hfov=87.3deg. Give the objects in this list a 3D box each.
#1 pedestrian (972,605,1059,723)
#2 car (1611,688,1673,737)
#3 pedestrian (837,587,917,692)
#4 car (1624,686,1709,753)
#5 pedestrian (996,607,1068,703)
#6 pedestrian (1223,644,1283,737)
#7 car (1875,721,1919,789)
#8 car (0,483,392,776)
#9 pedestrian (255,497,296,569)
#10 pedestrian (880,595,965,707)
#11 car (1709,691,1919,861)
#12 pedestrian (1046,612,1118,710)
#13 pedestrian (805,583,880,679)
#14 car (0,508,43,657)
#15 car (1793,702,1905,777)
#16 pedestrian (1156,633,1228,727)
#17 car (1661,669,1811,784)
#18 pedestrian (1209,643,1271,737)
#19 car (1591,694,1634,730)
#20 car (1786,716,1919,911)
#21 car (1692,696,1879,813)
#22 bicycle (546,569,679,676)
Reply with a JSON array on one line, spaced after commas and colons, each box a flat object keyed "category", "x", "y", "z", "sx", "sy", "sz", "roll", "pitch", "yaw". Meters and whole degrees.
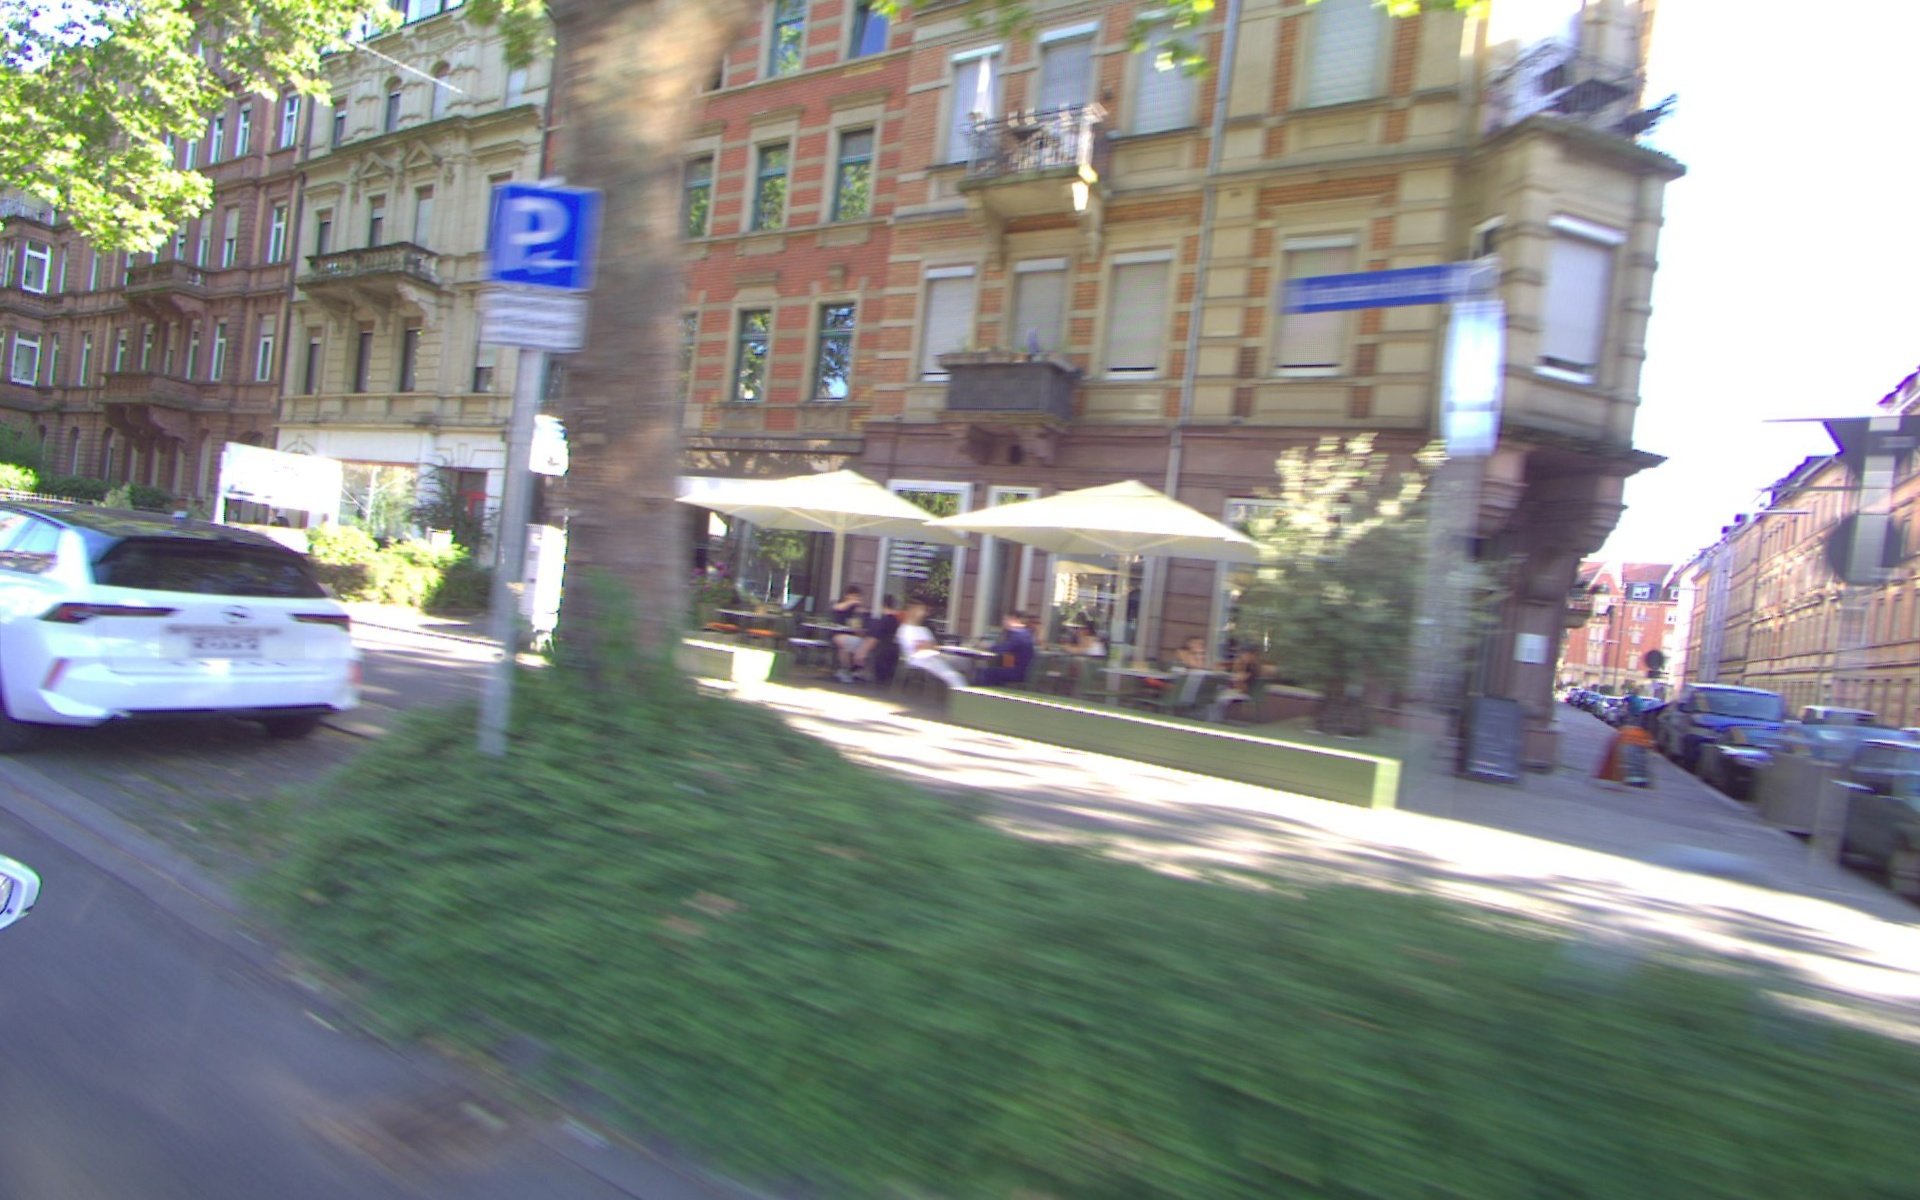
[{"category": "pedestrian", "x": 0.673, "y": 0.771, "z": 12.155, "sx": 0.651, "sy": 1.316, "sz": 0.713, "roll": 7, "pitch": 0, "yaw": 31}, {"category": "car", "x": 29.661, "y": 4.864, "z": 43.841, "sx": 1.833, "sy": 1.778, "sz": 3.992, "roll": 7, "pitch": 0, "yaw": 32}, {"category": "pedestrian", "x": -1.123, "y": 0.540, "z": 13.629, "sx": 0.651, "sy": 1.316, "sz": 0.713, "roll": 7, "pitch": 0, "yaw": 31}, {"category": "car", "x": 23.104, "y": 3.852, "z": 33.036, "sx": 1.833, "sy": 1.778, "sz": 3.992, "roll": 7, "pitch": 0, "yaw": 32}, {"category": "pedestrian", "x": 1.079, "y": 0.820, "z": 15.014, "sx": 0.703, "sy": 1.316, "sz": 0.661, "roll": 7, "pitch": 0, "yaw": 31}, {"category": "pedestrian", "x": 3.930, "y": 1.206, "z": 13.482, "sx": 0.517, "sy": 1.152, "sz": 0.557, "roll": 7, "pitch": 0, "yaw": 31}, {"category": "car", "x": 24.468, "y": 3.948, "z": 24.945, "sx": 1.713, "sy": 1.512, "sz": 3.993, "roll": 7, "pitch": -1, "yaw": 31}, {"category": "car", "x": -6.283, "y": 0.011, "z": 7.142, "sx": 4.569, "sy": 1.495, "sz": 1.805, "roll": 7, "pitch": 0, "yaw": 31}, {"category": "pedestrian", "x": -20.739, "y": -2.023, "z": 30.467, "sx": 0.623, "sy": 2.039, "sz": 0.673, "roll": 7, "pitch": 1, "yaw": 31}, {"category": "pedestrian", "x": -0.471, "y": 0.646, "z": 12.699, "sx": 0.651, "sy": 1.316, "sz": 0.713, "roll": 7, "pitch": 0, "yaw": 30}, {"category": "car", "x": 11.356, "y": 2.185, "z": 13.345, "sx": 1.862, "sy": 1.667, "sz": 3.899, "roll": 7, "pitch": 0, "yaw": 33}, {"category": "pedestrian", "x": 1.768, "y": 0.878, "z": 14.536, "sx": 0.651, "sy": 1.316, "sz": 0.713, "roll": 7, "pitch": 0, "yaw": 31}, {"category": "pedestrian", "x": -1.732, "y": 0.466, "z": 14.858, "sx": 0.652, "sy": 1.316, "sz": 0.713, "roll": 7, "pitch": 0, "yaw": 32}, {"category": "car", "x": -10.757, "y": -0.396, "z": 9.638, "sx": 3.934, "sy": 1.343, "sz": 1.832, "roll": 7, "pitch": 0, "yaw": 32}, {"category": "car", "x": 29.997, "y": 4.657, "z": 34.079, "sx": 1.967, "sy": 2.038, "sz": 3.992, "roll": 7, "pitch": 0, "yaw": 32}, {"category": "pedestrian", "x": 3.222, "y": 1.103, "z": 13.945, "sx": 0.651, "sy": 1.186, "sz": 0.713, "roll": 7, "pitch": 0, "yaw": 31}, {"category": "car", "x": 17.182, "y": 2.712, "z": 22.506, "sx": 1.967, "sy": 2.038, "sz": 4.611, "roll": 7, "pitch": 0, "yaw": 32}, {"category": "pedestrian", "x": 3.593, "y": 1.145, "z": 12.899, "sx": 0.517, "sy": 1.115, "sz": 0.557, "roll": 7, "pitch": 0, "yaw": 31}, {"category": "car", "x": 39.414, "y": 6.741, "z": 60.834, "sx": 1.833, "sy": 1.778, "sz": 3.992, "roll": 7, "pitch": 0, "yaw": 32}, {"category": "car", "x": 9.197, "y": 1.965, "z": 9.113, "sx": 1.713, "sy": 1.381, "sz": 3.994, "roll": 9, "pitch": 1, "yaw": 28}, {"category": "car", "x": 14.222, "y": 2.576, "z": 17.562, "sx": 1.894, "sy": 1.504, "sz": 3.651, "roll": 7, "pitch": 0, "yaw": 32}, {"category": "bicycle", "x": -4.535, "y": 0.273, "z": 13.070, "sx": 1.864, "sy": 1.158, "sz": 0.475, "roll": 7, "pitch": 3, "yaw": 31}]
